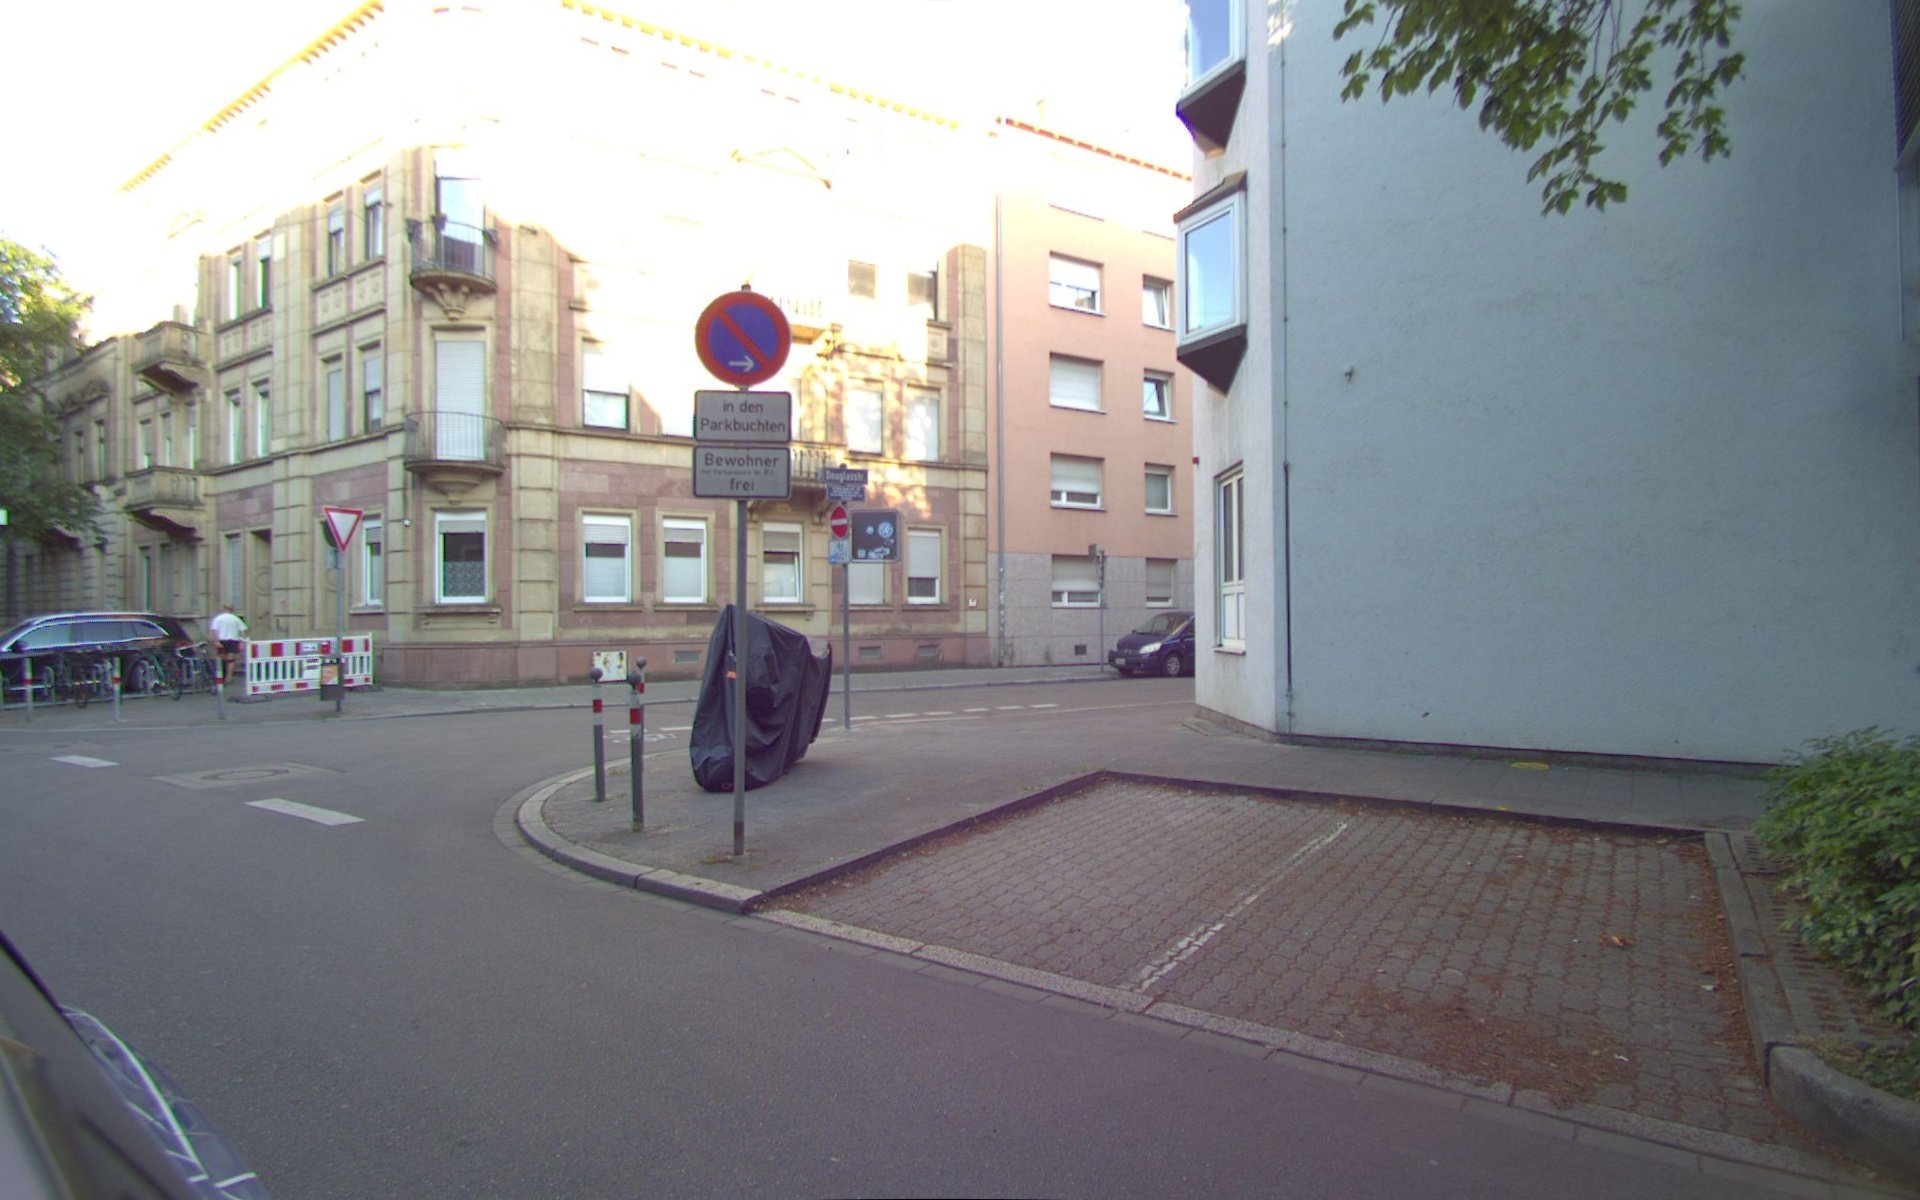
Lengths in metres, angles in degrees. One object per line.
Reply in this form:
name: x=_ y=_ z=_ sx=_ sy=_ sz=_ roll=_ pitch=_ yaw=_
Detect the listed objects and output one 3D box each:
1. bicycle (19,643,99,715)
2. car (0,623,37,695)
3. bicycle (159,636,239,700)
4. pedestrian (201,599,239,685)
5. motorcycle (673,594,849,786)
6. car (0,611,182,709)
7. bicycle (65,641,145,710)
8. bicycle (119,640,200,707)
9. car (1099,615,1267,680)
bicycle: x=-15.619 y=1.346 z=17.525 sx=2.034 sy=1.159 sz=0.555 roll=-1 pitch=-1 yaw=34
car: x=-24.300 y=1.396 z=23.393 sx=1.740 sy=1.690 sz=4.190 roll=-1 pitch=-2 yaw=39
bicycle: x=-14.440 y=1.264 z=19.186 sx=2.033 sy=1.159 sz=0.556 roll=-1 pitch=-1 yaw=33
pedestrian: x=-15.895 y=0.892 z=21.739 sx=0.651 sy=1.821 sz=0.565 roll=-2 pitch=-2 yaw=45
motorcycle: x=-1.720 y=0.737 z=9.204 sx=0.809 sy=1.516 sz=2.276 roll=-1 pitch=-1 yaw=10
car: x=-17.912 y=1.126 z=19.477 sx=1.739 sy=1.795 sz=4.369 roll=-1 pitch=-2 yaw=38
bicycle: x=-15.266 y=1.323 z=18.054 sx=2.034 sy=1.159 sz=0.555 roll=-1 pitch=-1 yaw=34
bicycle: x=-14.794 y=1.325 z=18.682 sx=2.033 sy=1.159 sz=0.556 roll=-1 pitch=-1 yaw=33
car: x=5.742 y=1.155 z=25.855 sx=4.297 sy=1.529 sz=1.789 roll=1 pitch=-2 yaw=-36
